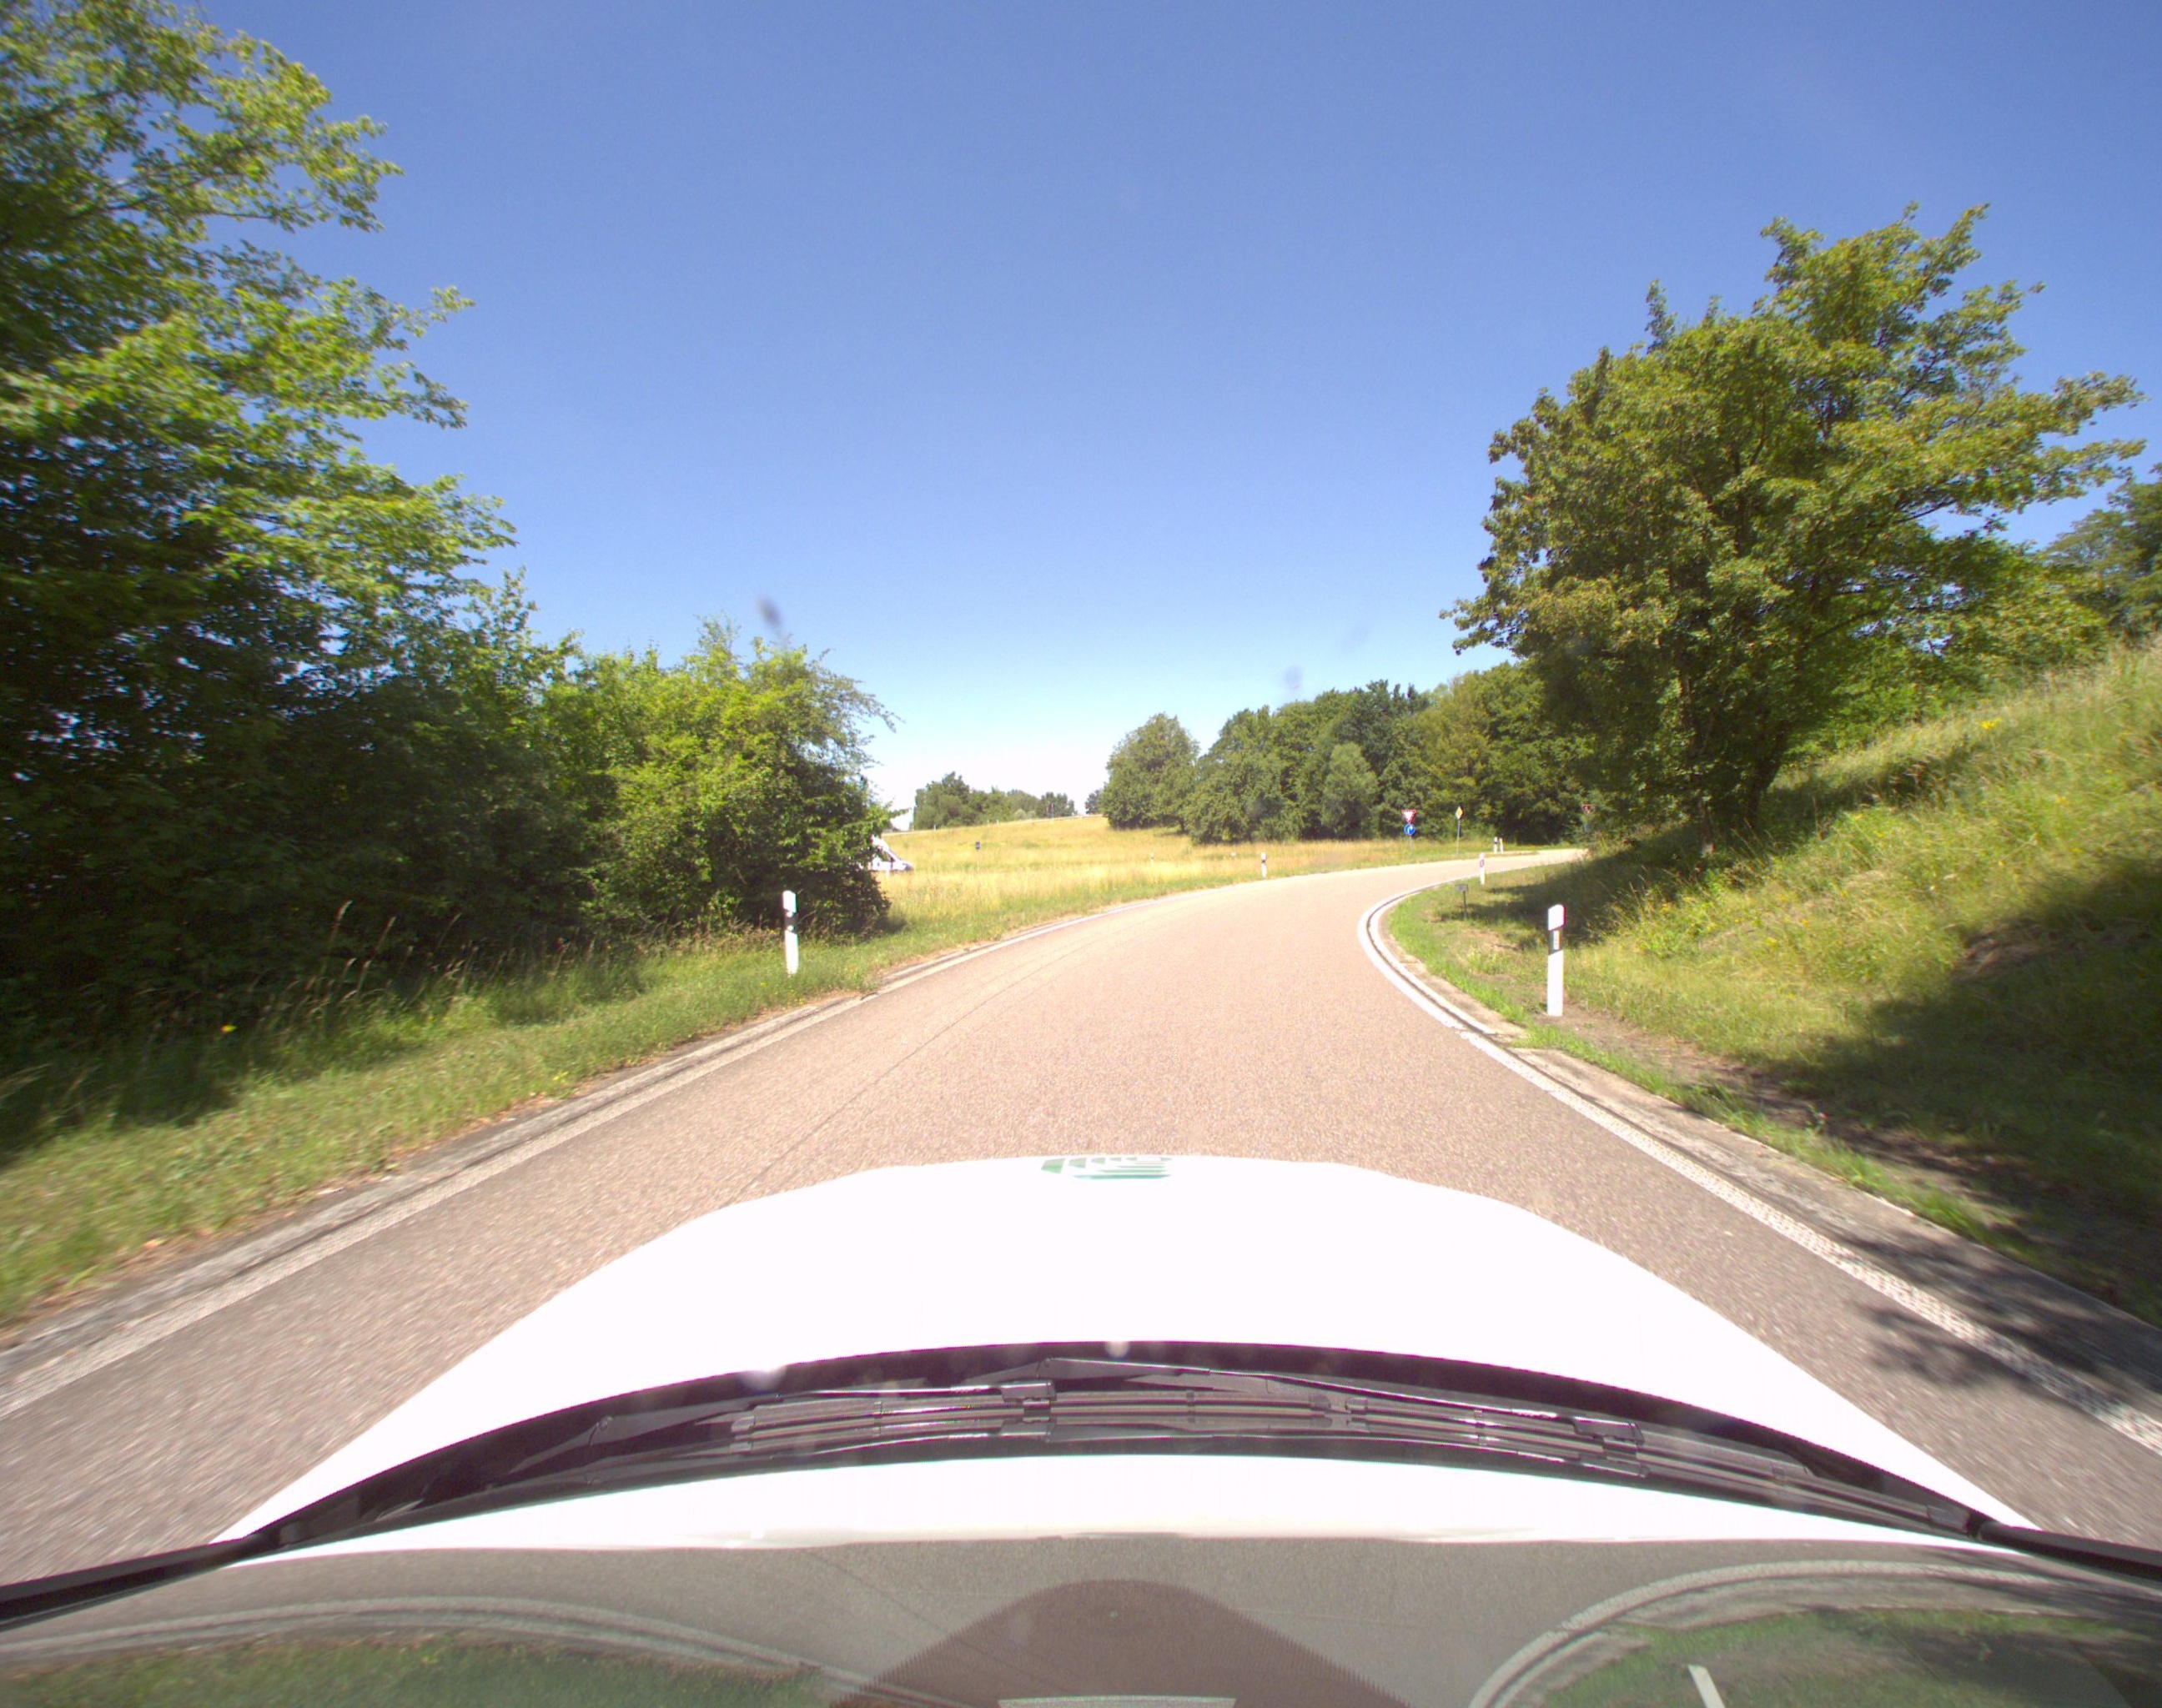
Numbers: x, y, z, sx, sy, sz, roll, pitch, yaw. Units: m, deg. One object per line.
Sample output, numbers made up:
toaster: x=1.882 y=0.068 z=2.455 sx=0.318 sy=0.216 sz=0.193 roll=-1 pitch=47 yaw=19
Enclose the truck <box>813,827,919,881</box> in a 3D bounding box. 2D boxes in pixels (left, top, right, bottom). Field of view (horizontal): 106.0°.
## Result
truck: x=-12.867 y=-0.009 z=49.068 sx=5.875 sy=2.984 sz=2.240 roll=-2 pitch=0 yaw=-10
